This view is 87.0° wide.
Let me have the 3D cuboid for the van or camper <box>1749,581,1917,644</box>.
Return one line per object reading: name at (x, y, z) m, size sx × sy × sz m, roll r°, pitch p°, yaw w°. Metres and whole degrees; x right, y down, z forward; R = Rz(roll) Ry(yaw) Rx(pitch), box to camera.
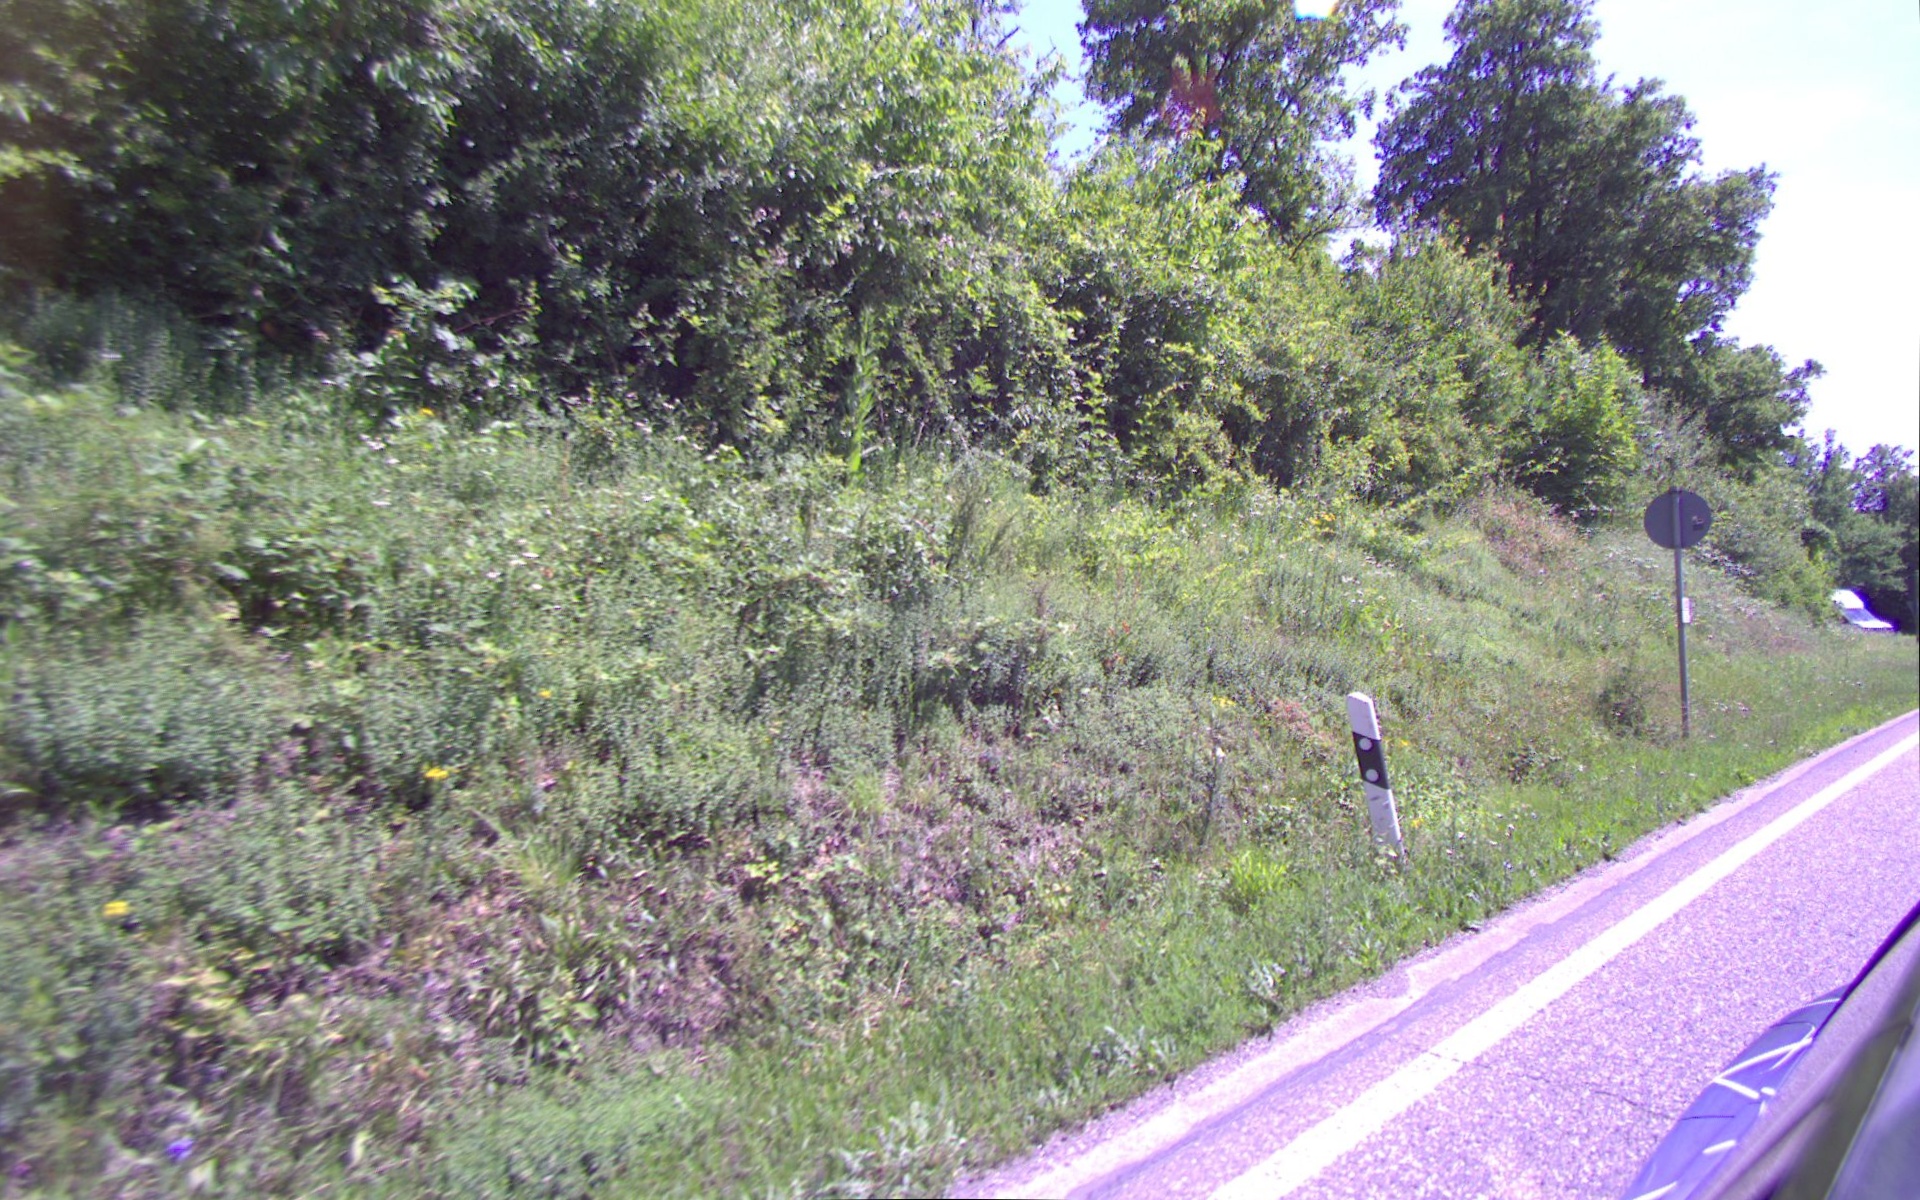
van or camper at (48.843, 0.785, 56.945) m, size 2.061 × 3.254 × 7.264 m, roll -1°, pitch -2°, yaw -12°
